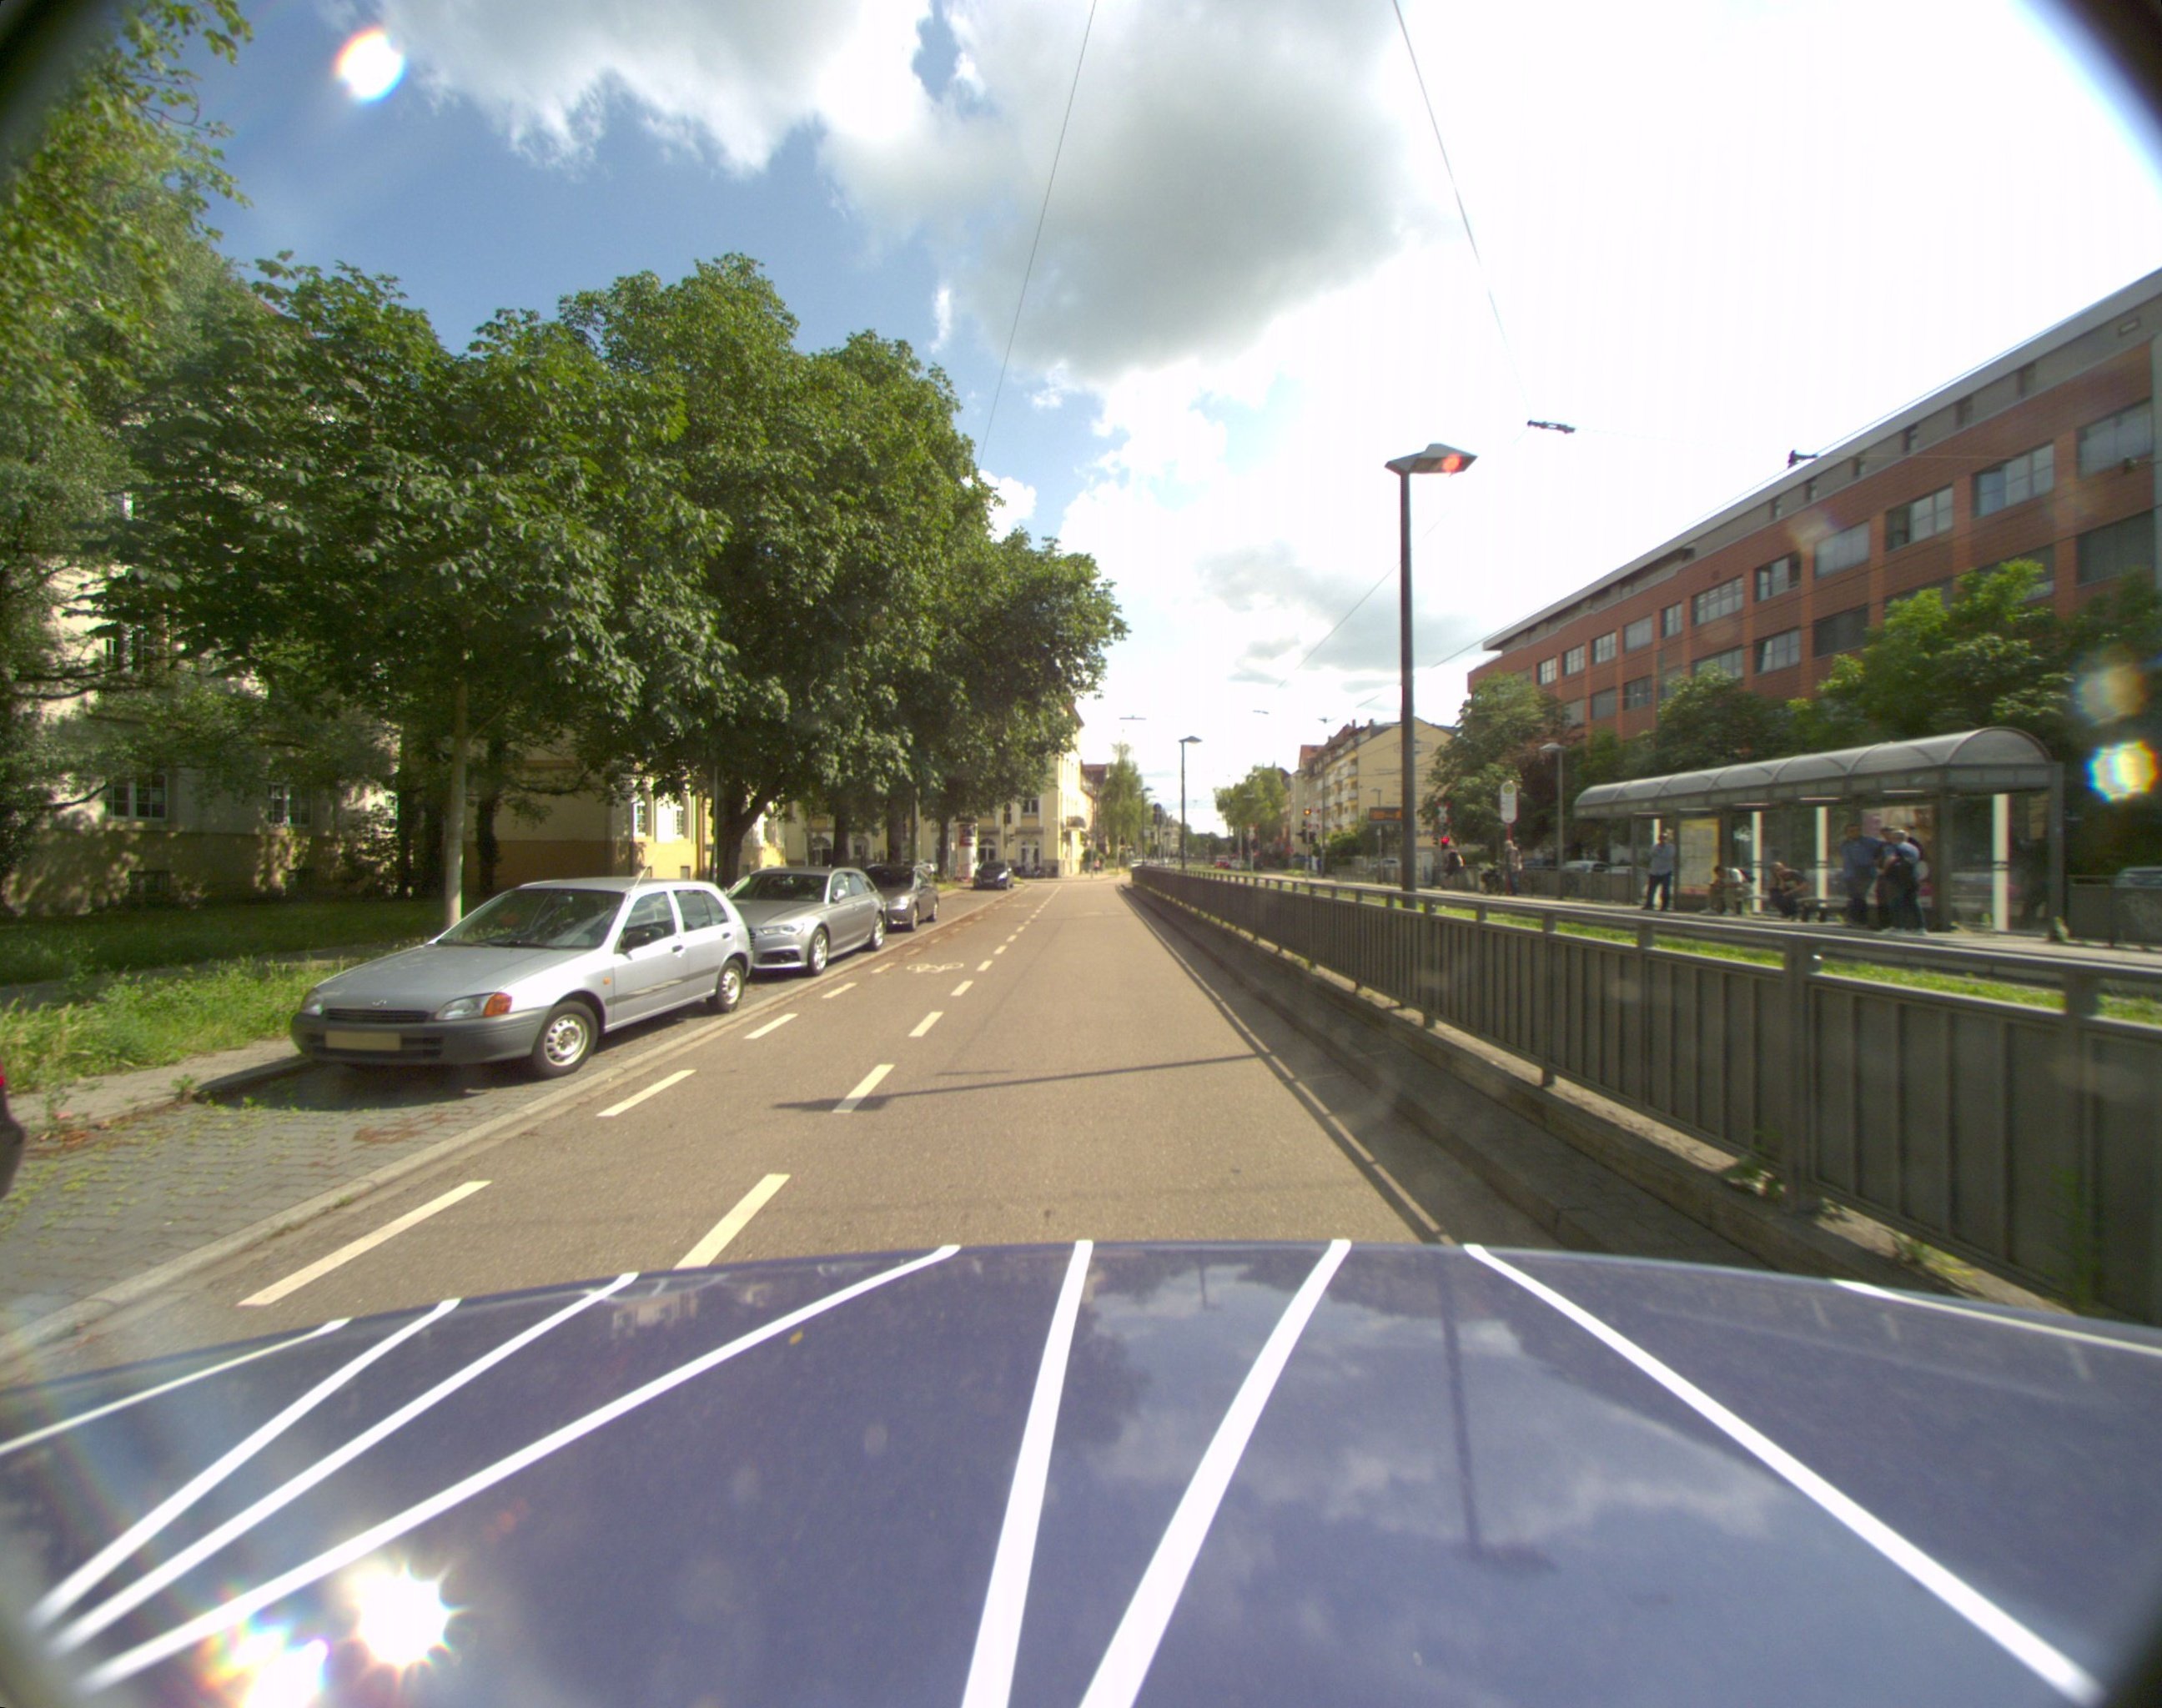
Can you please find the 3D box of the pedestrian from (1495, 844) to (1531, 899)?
[{"bbox_3d":[13.511,0.536,23.760,0.640,1.714,0.798,0,1,-2],"label":"pedestrian"}]

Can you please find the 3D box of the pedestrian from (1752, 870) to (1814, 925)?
[{"bbox_3d":[13.635,0.836,14.763,0.655,1.025,0.562,1,1,-2],"label":"pedestrian"}]

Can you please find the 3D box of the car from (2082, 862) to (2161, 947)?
[{"bbox_3d":[22.680,1.005,16.094,4.007,1.520,1.668,-2,0,-36],"label":"car"}]

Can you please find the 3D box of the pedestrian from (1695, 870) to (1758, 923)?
[{"bbox_3d":[13.234,0.860,15.600,0.721,1.025,0.623,1,1,-2],"label":"pedestrian"}]

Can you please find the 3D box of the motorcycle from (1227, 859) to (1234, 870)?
[{"bbox_3d":[21.168,1.469,107.820,0.634,1.395,2.010,-2,1,3],"label":"motorcycle"}]

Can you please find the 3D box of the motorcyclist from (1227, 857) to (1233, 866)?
[{"bbox_3d":[21.174,1.062,107.855,0.663,1.350,0.693,-2,1,3],"label":"motorcyclist"}]

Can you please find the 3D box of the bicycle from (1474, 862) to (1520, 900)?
[{"bbox_3d":[13.077,0.816,23.942,0.663,1.107,1.878,2,0,9],"label":"bicycle"}]

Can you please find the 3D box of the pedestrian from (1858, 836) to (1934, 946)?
[{"bbox_3d":[12.308,0.547,11.484,0.598,1.623,0.558,0,0,-13],"label":"pedestrian"}]

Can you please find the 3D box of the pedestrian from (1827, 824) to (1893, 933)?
[{"bbox_3d":[13.275,0.405,12.953,0.444,1.816,0.623,0,1,-2],"label":"pedestrian"}]

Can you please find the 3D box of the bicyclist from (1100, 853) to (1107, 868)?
[{"bbox_3d":[2.553,0.697,86.150,0.772,1.663,0.951,0,-2,-4],"label":"bicyclist"}]

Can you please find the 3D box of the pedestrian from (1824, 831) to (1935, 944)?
[{"bbox_3d":[12.751,0.506,12.167,0.634,1.733,1.036,0,1,-2],"label":"pedestrian"}]

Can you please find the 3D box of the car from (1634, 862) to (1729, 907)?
[{"bbox_3d":[22.156,1.075,28.015,3.317,1.412,1.581,-2,1,-29],"label":"car"}]

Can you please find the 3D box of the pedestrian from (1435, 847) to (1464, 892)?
[{"bbox_3d":[13.928,0.585,28.766,0.667,1.689,0.798,0,1,-2],"label":"pedestrian"}]

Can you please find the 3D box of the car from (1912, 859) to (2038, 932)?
[{"bbox_3d":[22.483,0.978,19.071,4.007,1.520,1.668,-2,0,-35],"label":"car"}]

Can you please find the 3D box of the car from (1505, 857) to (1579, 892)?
[{"bbox_3d":[22.408,0.953,36.883,3.851,1.649,1.870,0,0,-38],"label":"car"}]

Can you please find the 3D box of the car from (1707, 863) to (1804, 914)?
[{"bbox_3d":[21.951,1.069,24.712,3.072,1.402,1.668,-2,3,-35],"label":"car"}]

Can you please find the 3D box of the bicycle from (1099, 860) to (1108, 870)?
[{"bbox_3d":[2.556,1.283,86.388,0.772,1.097,2.571,-1,-2,-4],"label":"bicycle"}]

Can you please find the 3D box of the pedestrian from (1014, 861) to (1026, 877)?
[{"bbox_3d":[-4.997,1.189,62.252,0.804,1.281,0.759,0,2,3],"label":"pedestrian"}]

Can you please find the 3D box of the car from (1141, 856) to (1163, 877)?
[{"bbox_3d":[7.294,1.218,77.592,1.997,2.002,4.002,-2,1,7],"label":"car"}]

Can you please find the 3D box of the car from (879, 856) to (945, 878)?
[{"bbox_3d":[-13.510,1.032,60.804,4.828,1.646,1.858,0,2,11],"label":"car"}]

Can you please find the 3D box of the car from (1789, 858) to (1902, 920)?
[{"bbox_3d":[22.678,0.961,22.507,4.008,1.630,1.668,0,1,-35],"label":"car"}]

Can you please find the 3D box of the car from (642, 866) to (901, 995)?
[{"bbox_3d":[-4.369,0.967,11.765,1.833,1.432,5.050,3,0,1],"label":"car"}]

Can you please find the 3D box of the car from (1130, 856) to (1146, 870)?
[{"bbox_3d":[7.278,1.097,96.993,1.848,1.606,3.814,-2,1,3],"label":"car"}]

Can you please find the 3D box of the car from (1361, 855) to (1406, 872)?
[{"bbox_3d":[28.420,0.924,71.522,3.608,1.470,1.777,0,-3,7],"label":"car"}]

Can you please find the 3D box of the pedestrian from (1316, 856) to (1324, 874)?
[{"bbox_3d":[23.069,1.071,73.431,0.650,1.700,0.481,0,0,2],"label":"pedestrian"}]

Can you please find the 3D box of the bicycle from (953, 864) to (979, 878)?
[{"bbox_3d":[-9.084,1.344,60.088,1.941,1.039,0.617,1,1,22],"label":"bicycle"}]

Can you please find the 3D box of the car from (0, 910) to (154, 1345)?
[{"bbox_3d":[-4.550,0.978,0.613,1.836,1.458,4.829,2,1,-3],"label":"car"}]

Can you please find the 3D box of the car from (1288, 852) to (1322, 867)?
[{"bbox_3d":[30.213,0.798,102.464,4.255,2.002,2.002,0,0,10],"label":"car"}]

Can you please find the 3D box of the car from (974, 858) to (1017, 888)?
[{"bbox_3d":[-4.350,0.930,39.012,1.689,1.379,3.924,1,1,1],"label":"car"}]

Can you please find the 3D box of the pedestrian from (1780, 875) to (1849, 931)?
[{"bbox_3d":[13.598,0.900,14.098,0.706,0.989,0.562,1,1,-2],"label":"pedestrian"}]

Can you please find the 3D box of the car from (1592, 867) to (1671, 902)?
[{"bbox_3d":[22.538,1.214,31.088,3.258,1.296,1.599,0,0,-35],"label":"car"}]

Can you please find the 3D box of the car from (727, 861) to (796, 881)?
[{"bbox_3d":[-22.841,1.195,54.363,1.852,1.344,4.188,0,0,36],"label":"car"}]

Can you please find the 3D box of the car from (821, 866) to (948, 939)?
[{"bbox_3d":[-4.510,1.044,18.197,1.833,1.392,4.656,3,0,-1],"label":"car"}]

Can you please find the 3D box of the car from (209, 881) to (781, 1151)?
[{"bbox_3d":[-4.313,1.034,6.555,1.639,1.423,4.016,3,0,3],"label":"car"}]

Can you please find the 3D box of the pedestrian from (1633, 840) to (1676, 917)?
[{"bbox_3d":[12.941,0.542,17.163,0.487,1.716,0.623,-1,1,-2],"label":"pedestrian"}]

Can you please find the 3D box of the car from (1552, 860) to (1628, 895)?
[{"bbox_3d":[23.266,1.028,34.681,4.008,1.487,1.646,0,0,-36],"label":"car"}]

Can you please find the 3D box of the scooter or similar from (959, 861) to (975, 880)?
[{"bbox_3d":[-7.246,1.070,48.357,0.414,1.171,1.128,-2,-1,29],"label":"scooter or similar"}]

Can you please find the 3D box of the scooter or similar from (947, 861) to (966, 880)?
[{"bbox_3d":[-7.975,1.054,48.724,1.105,1.234,0.447,0,0,23],"label":"scooter or similar"}]

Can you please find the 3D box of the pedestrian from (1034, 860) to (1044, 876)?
[{"bbox_3d":[-3.463,1.161,62.690,0.804,1.238,0.892,0,2,3],"label":"pedestrian"}]

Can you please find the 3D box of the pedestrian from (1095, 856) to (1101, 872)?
[{"bbox_3d":[1.738,1.024,77.515,0.593,1.622,0.538,3,0,3],"label":"pedestrian"}]
